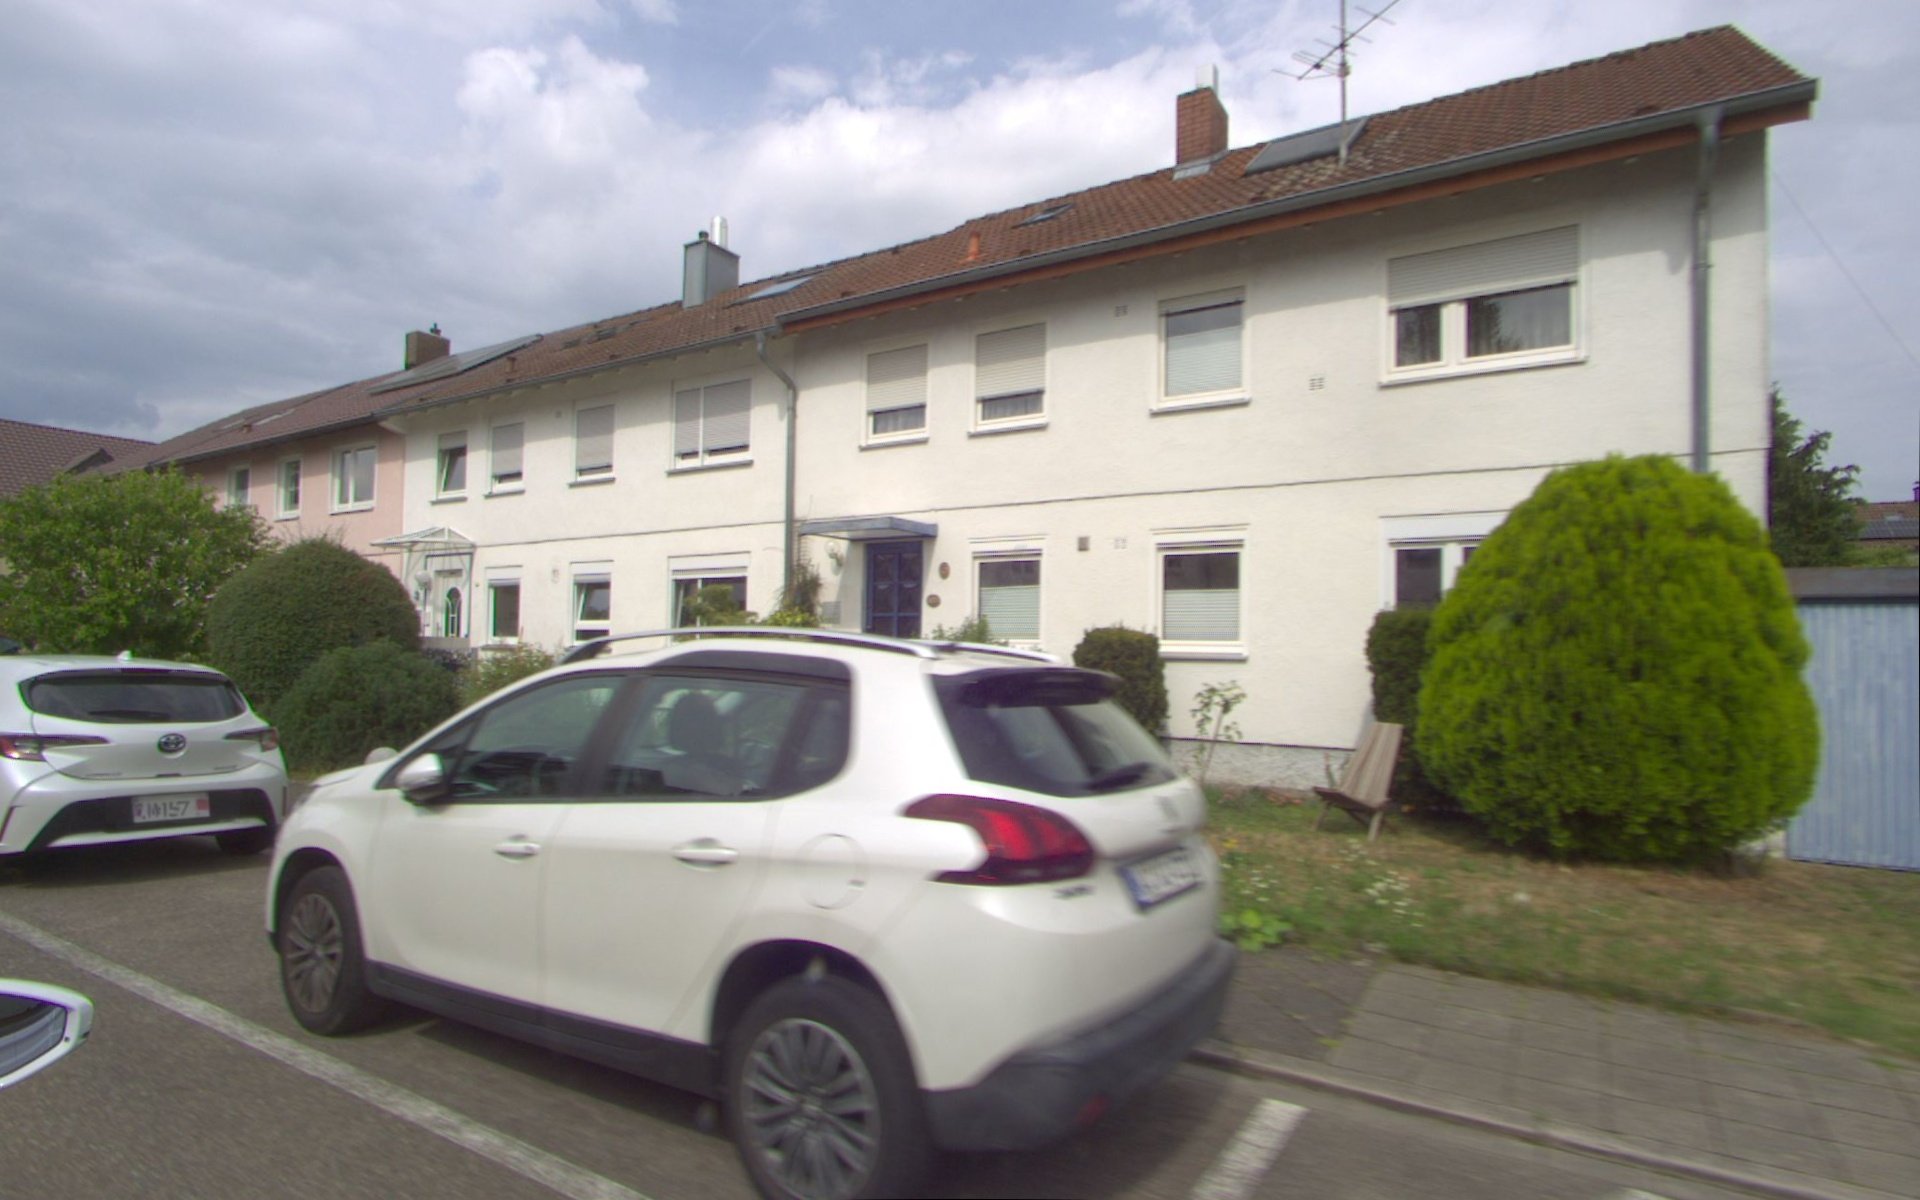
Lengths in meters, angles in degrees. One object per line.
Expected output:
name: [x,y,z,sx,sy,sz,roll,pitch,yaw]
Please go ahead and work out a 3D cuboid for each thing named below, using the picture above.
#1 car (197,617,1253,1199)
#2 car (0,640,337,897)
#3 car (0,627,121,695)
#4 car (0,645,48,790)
car: [-1.054,0.907,3.919,3.916,1.562,1.713,-1,-5,32]
car: [-7.000,1.044,7.679,4.567,1.430,1.836,-1,-2,30]
car: [-22.789,1.416,23.578,1.907,1.579,4.263,-1,-3,33]
car: [-11.967,1.176,10.920,4.758,1.453,1.772,-1,-5,33]
